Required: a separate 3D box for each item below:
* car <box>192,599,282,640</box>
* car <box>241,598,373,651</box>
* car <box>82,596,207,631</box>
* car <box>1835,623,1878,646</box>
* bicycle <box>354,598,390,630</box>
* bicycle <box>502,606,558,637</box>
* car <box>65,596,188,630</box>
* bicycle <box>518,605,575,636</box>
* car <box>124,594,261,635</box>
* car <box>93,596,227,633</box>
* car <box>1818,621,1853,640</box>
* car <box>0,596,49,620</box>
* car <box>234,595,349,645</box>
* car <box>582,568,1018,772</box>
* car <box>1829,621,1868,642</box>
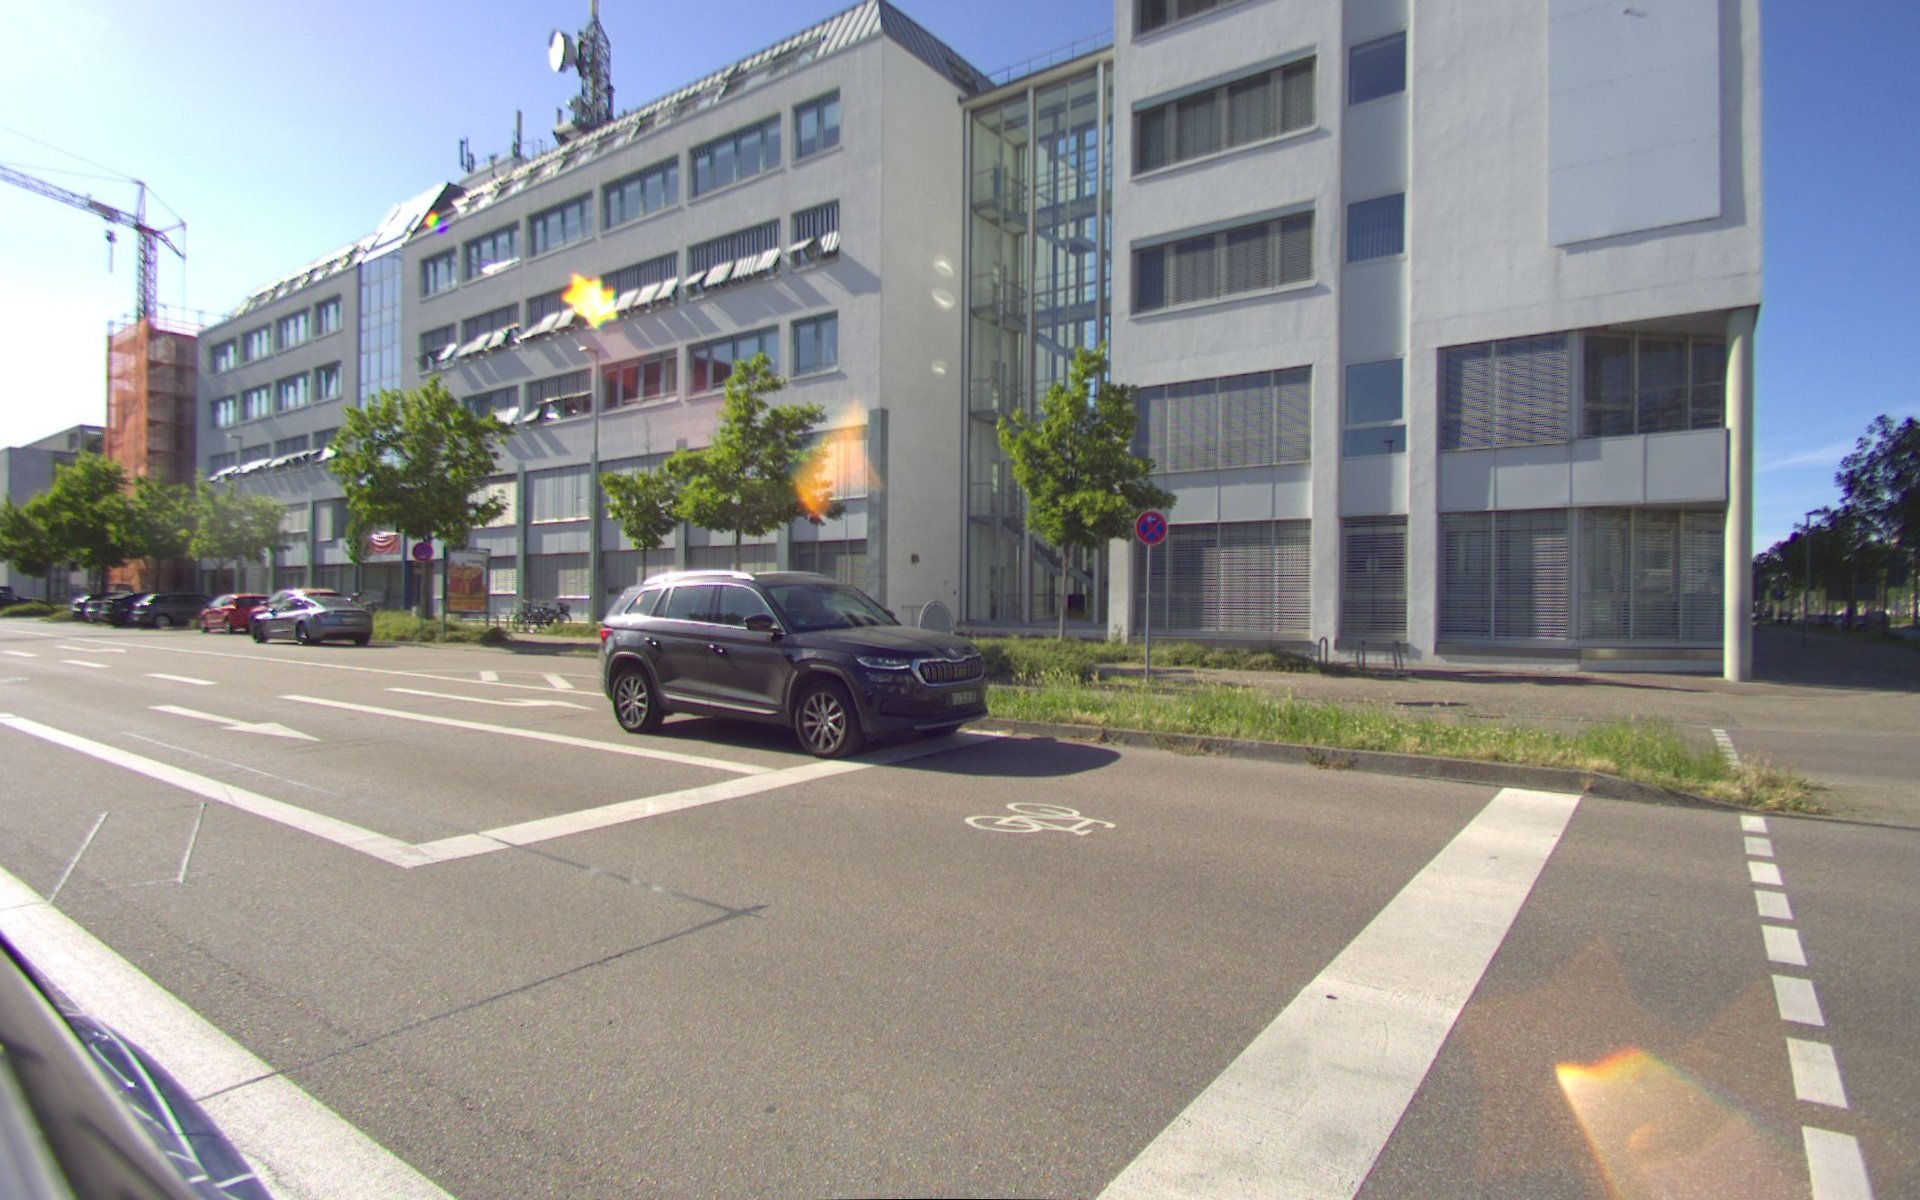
[{"bbox_3d":[-27.453,0.700,38.383,3.865,1.442,1.673,0,2,37],"label":"car"},{"bbox_3d":[-19.684,0.700,30.464,4.535,1.479,1.674,0,-1,34],"label":"car"},{"bbox_3d":[-38.563,0.613,47.955,1.691,1.442,4.345,0,2,37],"label":"car"},{"bbox_3d":[63.367,2.397,71.608,1.777,1.531,3.953,0,-1,34],"label":"car"},{"bbox_3d":[-25.843,0.618,44.463,2.232,1.357,0.701,0,-2,42],"label":"bicycle"},{"bbox_3d":[-15.516,0.769,36.528,0.556,1.077,1.747,0,-2,44],"label":"bicycle"},{"bbox_3d":[-40.558,0.605,49.356,1.690,1.442,4.348,0,2,35],"label":"car"},{"bbox_3d":[-14.794,0.752,36.207,0.622,1.077,1.768,0,-2,44],"label":"bicycle"},{"bbox_3d":[-32.888,0.582,43.484,1.688,1.549,4.352,0,2,32],"label":"car"},{"bbox_3d":[-35.525,0.622,45.036,1.689,1.442,4.350,0,2,34],"label":"car"},{"bbox_3d":[74.953,2.599,86.667,1.777,1.531,3.953,0,-1,34],"label":"car"},{"bbox_3d":[-60.015,0.515,63.136,1.972,1.442,4.351,0,2,33],"label":"car"},{"bbox_3d":[-23.420,0.645,35.431,4.295,1.619,1.676,0,2,31],"label":"car"},{"bbox_3d":[-1.751,0.537,10.206,4.471,1.640,1.738,0,2,37],"label":"car"},{"bbox_3d":[69.016,2.409,78.672,1.777,1.531,3.953,0,-1,34],"label":"car"}]
